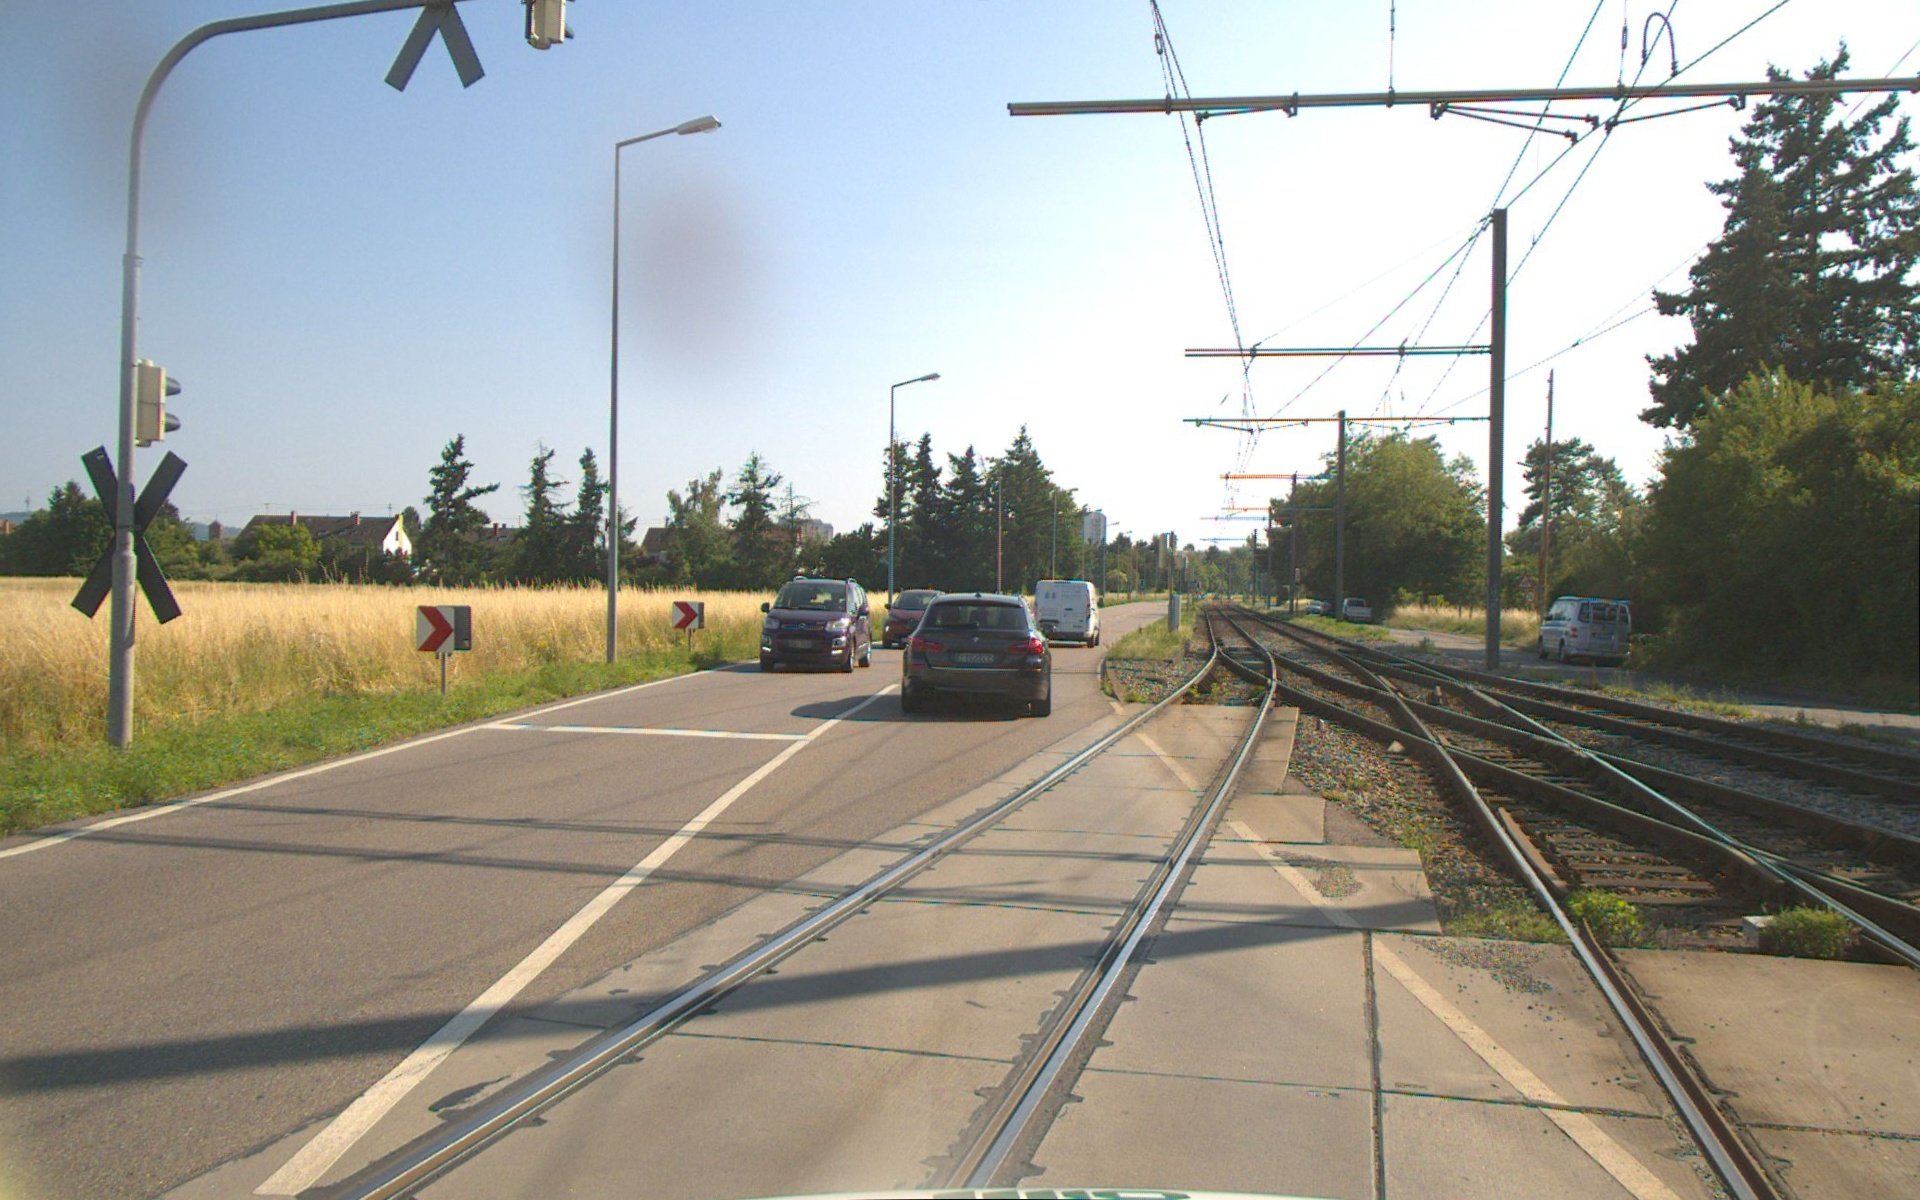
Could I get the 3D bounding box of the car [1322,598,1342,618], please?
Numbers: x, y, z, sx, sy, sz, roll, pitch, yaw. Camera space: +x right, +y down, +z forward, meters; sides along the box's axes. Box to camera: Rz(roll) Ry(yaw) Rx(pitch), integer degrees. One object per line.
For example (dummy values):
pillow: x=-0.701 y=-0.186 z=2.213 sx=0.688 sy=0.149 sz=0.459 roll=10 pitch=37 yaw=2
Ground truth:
car: x=34.510 y=0.742 z=153.428 sx=1.698 sy=1.709 sz=3.547 roll=2 pitch=-1 yaw=11

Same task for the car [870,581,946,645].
car: x=-1.360 y=0.314 z=44.664 sx=1.677 sy=1.576 sz=3.930 roll=1 pitch=1 yaw=3

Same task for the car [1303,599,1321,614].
car: x=36.481 y=0.722 z=171.336 sx=1.587 sy=1.423 sz=3.492 roll=2 pitch=-1 yaw=9

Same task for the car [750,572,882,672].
car: x=-2.622 y=0.340 z=31.035 sx=1.670 sy=1.694 sz=4.593 roll=1 pitch=1 yaw=5

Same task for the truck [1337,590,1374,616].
truck: x=30.032 y=0.196 z=125.660 sx=2.157 sy=1.850 sz=5.934 roll=1 pitch=1 yaw=8

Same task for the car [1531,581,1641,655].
car: x=19.157 y=0.513 z=50.866 sx=1.951 sy=2.039 sz=5.071 roll=4 pitch=1 yaw=8

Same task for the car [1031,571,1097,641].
car: x=3.324 y=0.146 z=52.141 sx=1.818 sy=2.022 sz=5.112 roll=2 pitch=1 yaw=6

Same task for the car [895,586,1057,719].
car: x=0.292 y=0.581 z=21.473 sx=1.830 sy=1.478 sz=4.745 roll=2 pitch=1 yaw=2
